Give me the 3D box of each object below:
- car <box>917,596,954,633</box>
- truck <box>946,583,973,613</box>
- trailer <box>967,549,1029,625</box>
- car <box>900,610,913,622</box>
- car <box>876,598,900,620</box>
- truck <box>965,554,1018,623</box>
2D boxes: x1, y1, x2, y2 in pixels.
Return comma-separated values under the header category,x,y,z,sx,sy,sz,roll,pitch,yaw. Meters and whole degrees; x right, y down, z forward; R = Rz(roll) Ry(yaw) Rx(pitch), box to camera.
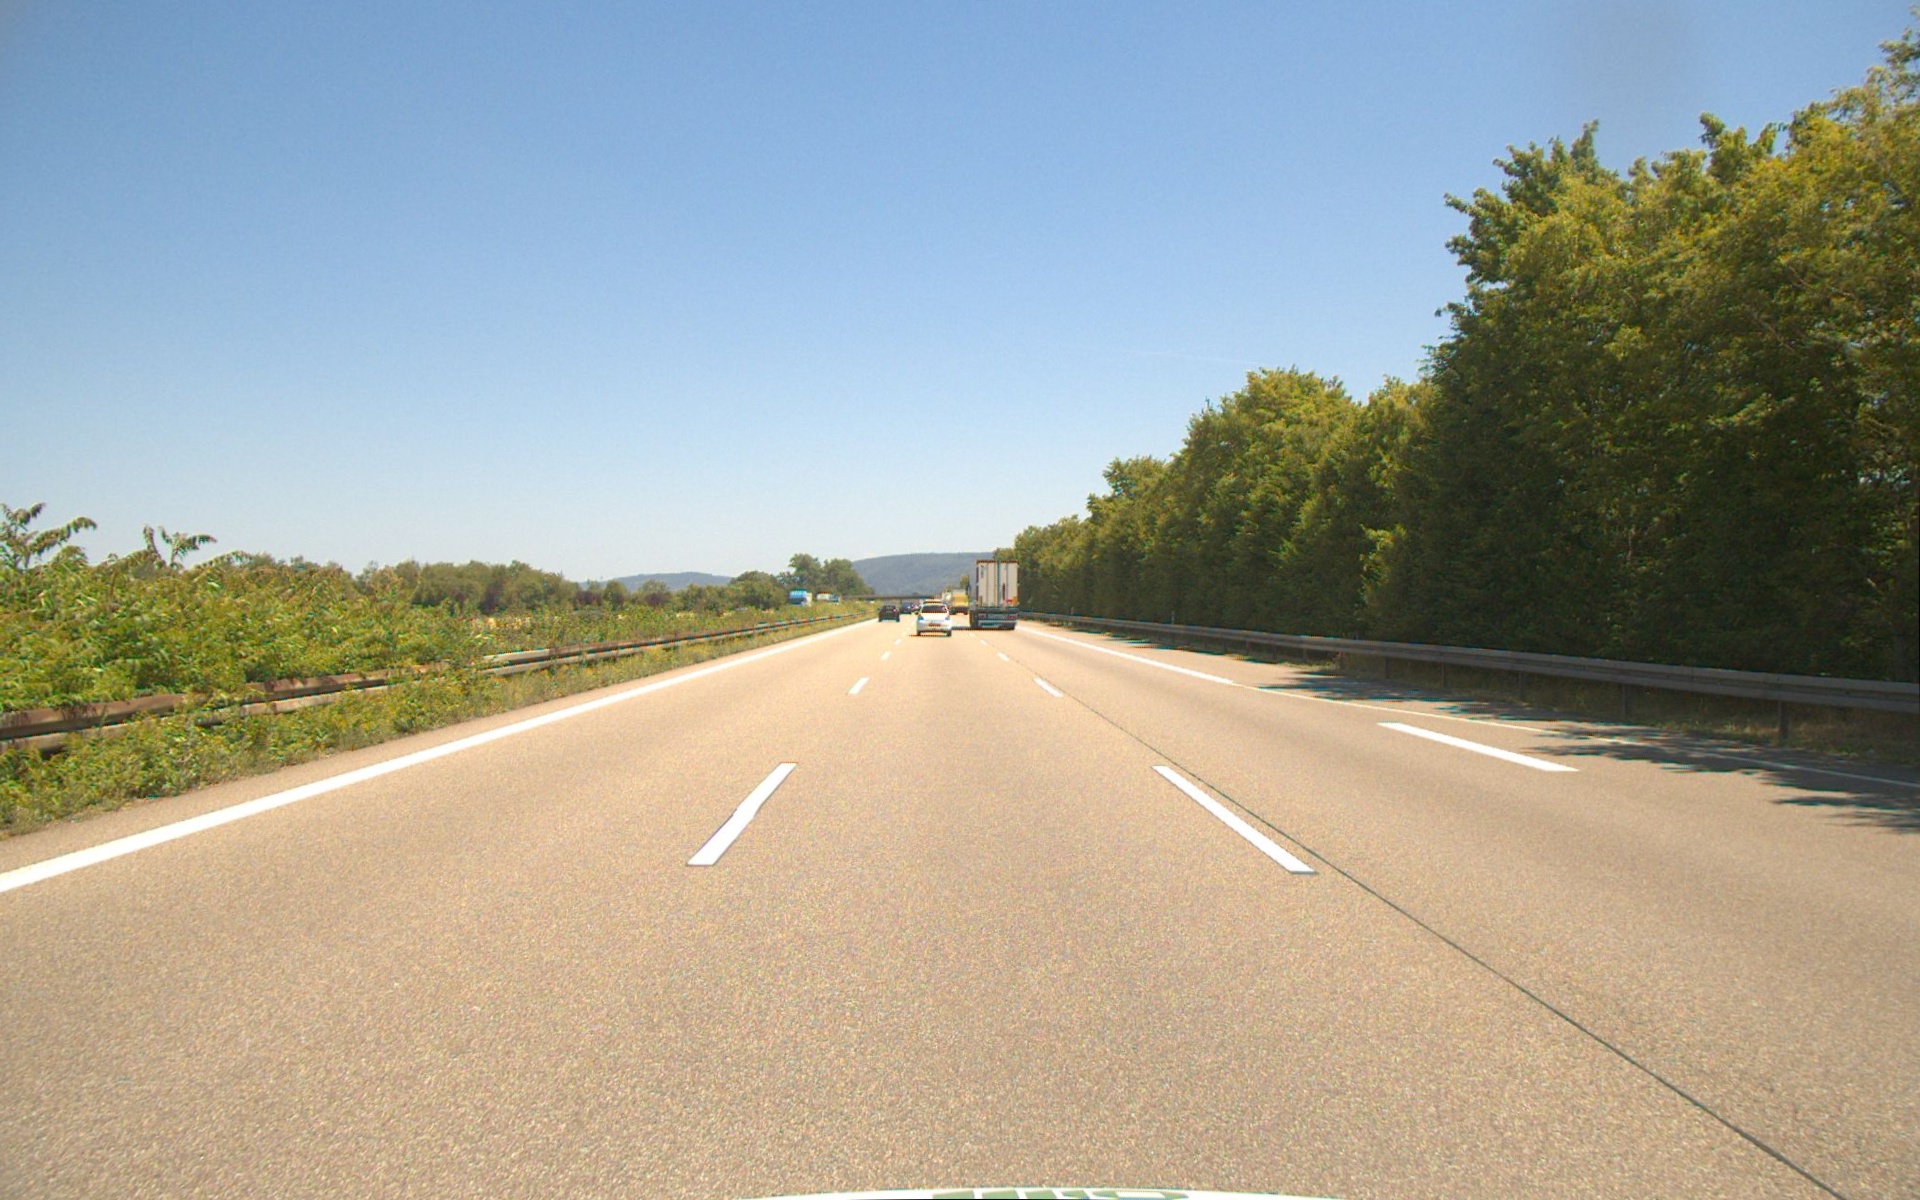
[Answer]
category,x,y,z,sx,sy,sz,roll,pitch,yaw
car,-1.192,0.673,79.053,1.697,1.713,3.998,-1,0,-2
truck,-0.186,-0.273,252.832,3.793,4.421,13.856,1,0,-1
trailer,2.254,-0.757,103.473,3.153,4.421,13.624,1,0,-2
car,-7.679,2.287,237.221,1.759,1.578,3.999,0,0,-1
car,-6.110,0.742,139.889,1.953,1.742,3.998,1,0,-2
truck,2.058,-0.746,110.597,3.153,4.421,6.588,1,0,-2
